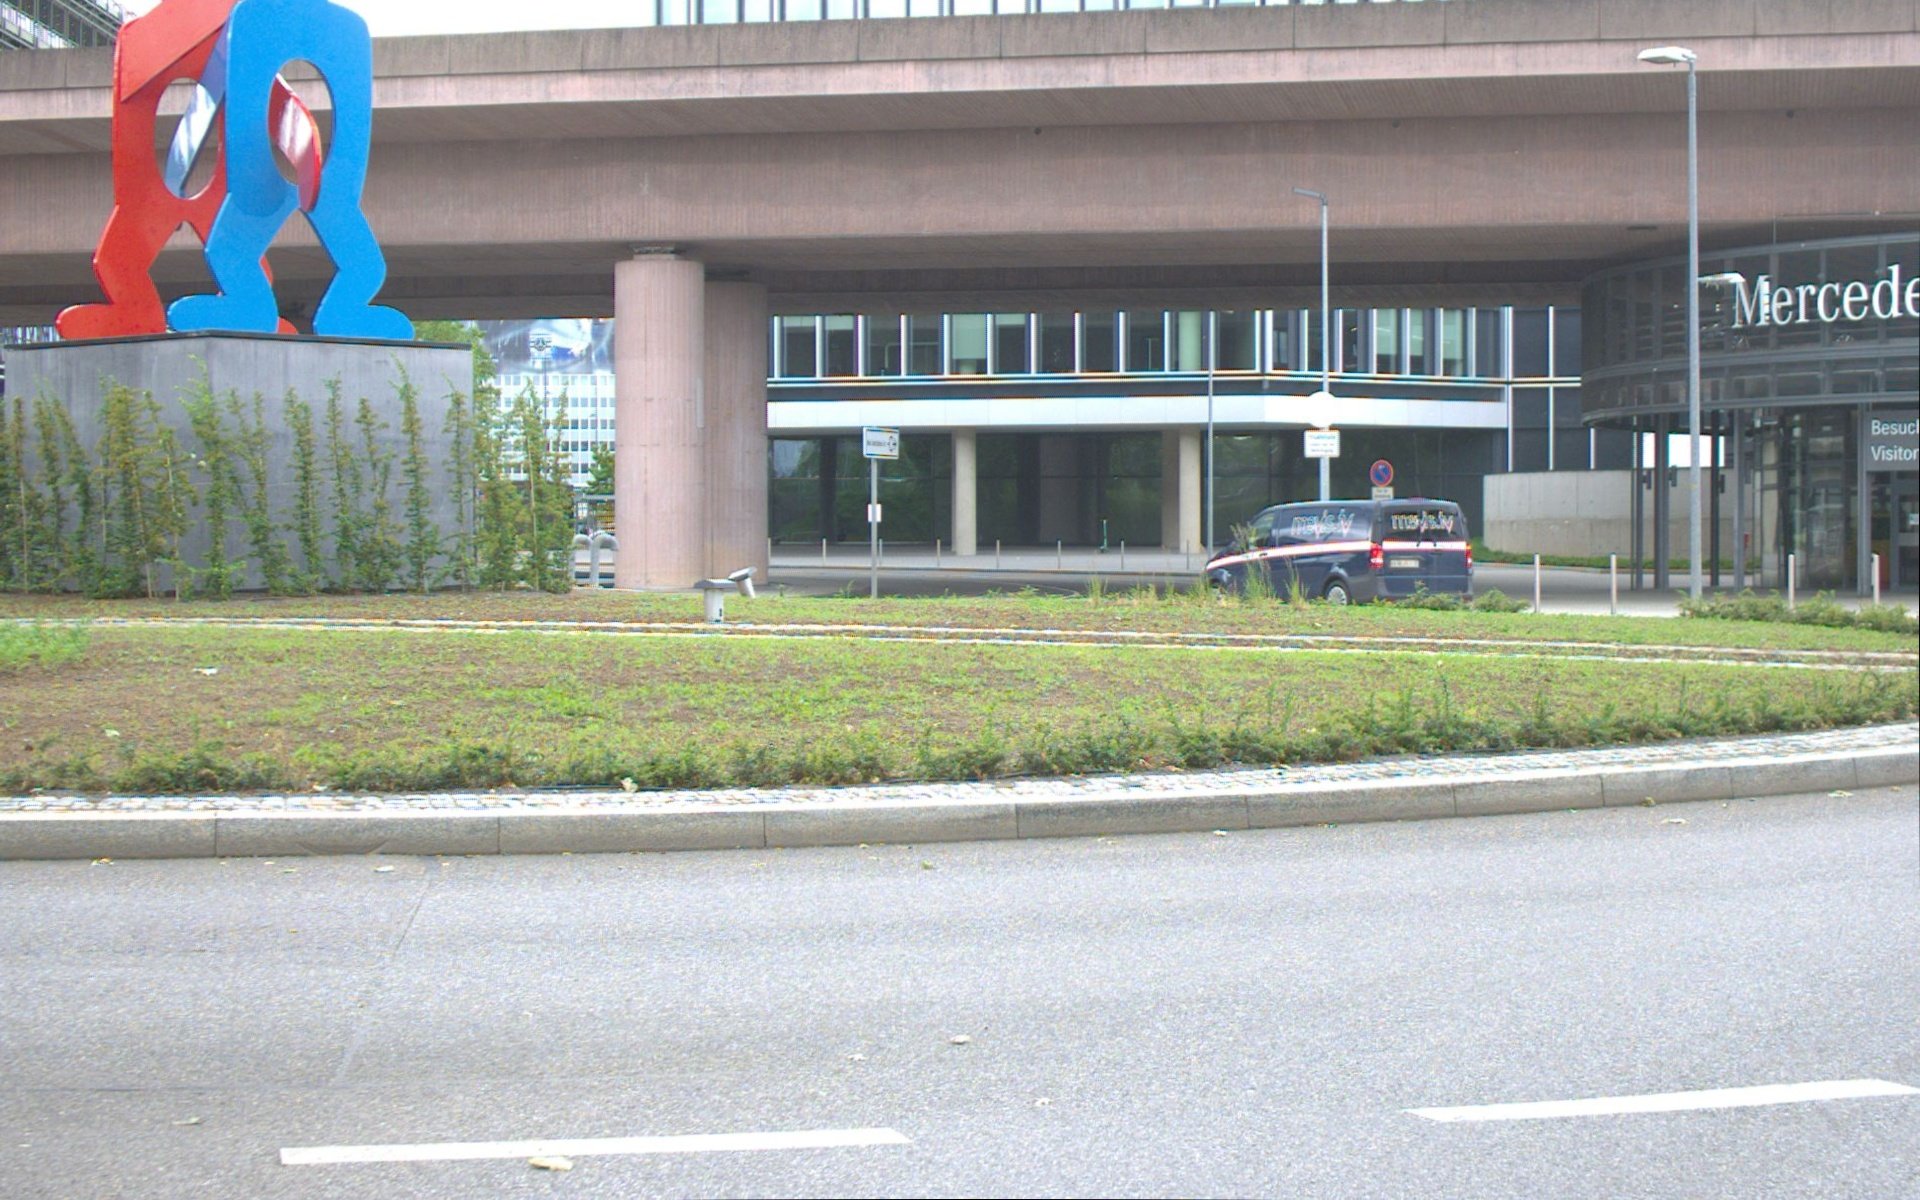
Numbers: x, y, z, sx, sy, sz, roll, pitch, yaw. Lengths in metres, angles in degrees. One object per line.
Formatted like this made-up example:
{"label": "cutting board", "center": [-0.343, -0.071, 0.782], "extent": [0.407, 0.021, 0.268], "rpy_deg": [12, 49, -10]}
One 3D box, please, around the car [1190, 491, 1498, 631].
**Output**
{"label": "car", "center": [5.734, -0.598, 51.951], "extent": [2.276, 2.007, 4.784], "rpy_deg": [1, 1, -28]}

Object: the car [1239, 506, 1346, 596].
{"label": "car", "center": [7.722, -1.135, 79.590], "extent": [1.994, 2.007, 3.998], "rpy_deg": [1, 1, 12]}
